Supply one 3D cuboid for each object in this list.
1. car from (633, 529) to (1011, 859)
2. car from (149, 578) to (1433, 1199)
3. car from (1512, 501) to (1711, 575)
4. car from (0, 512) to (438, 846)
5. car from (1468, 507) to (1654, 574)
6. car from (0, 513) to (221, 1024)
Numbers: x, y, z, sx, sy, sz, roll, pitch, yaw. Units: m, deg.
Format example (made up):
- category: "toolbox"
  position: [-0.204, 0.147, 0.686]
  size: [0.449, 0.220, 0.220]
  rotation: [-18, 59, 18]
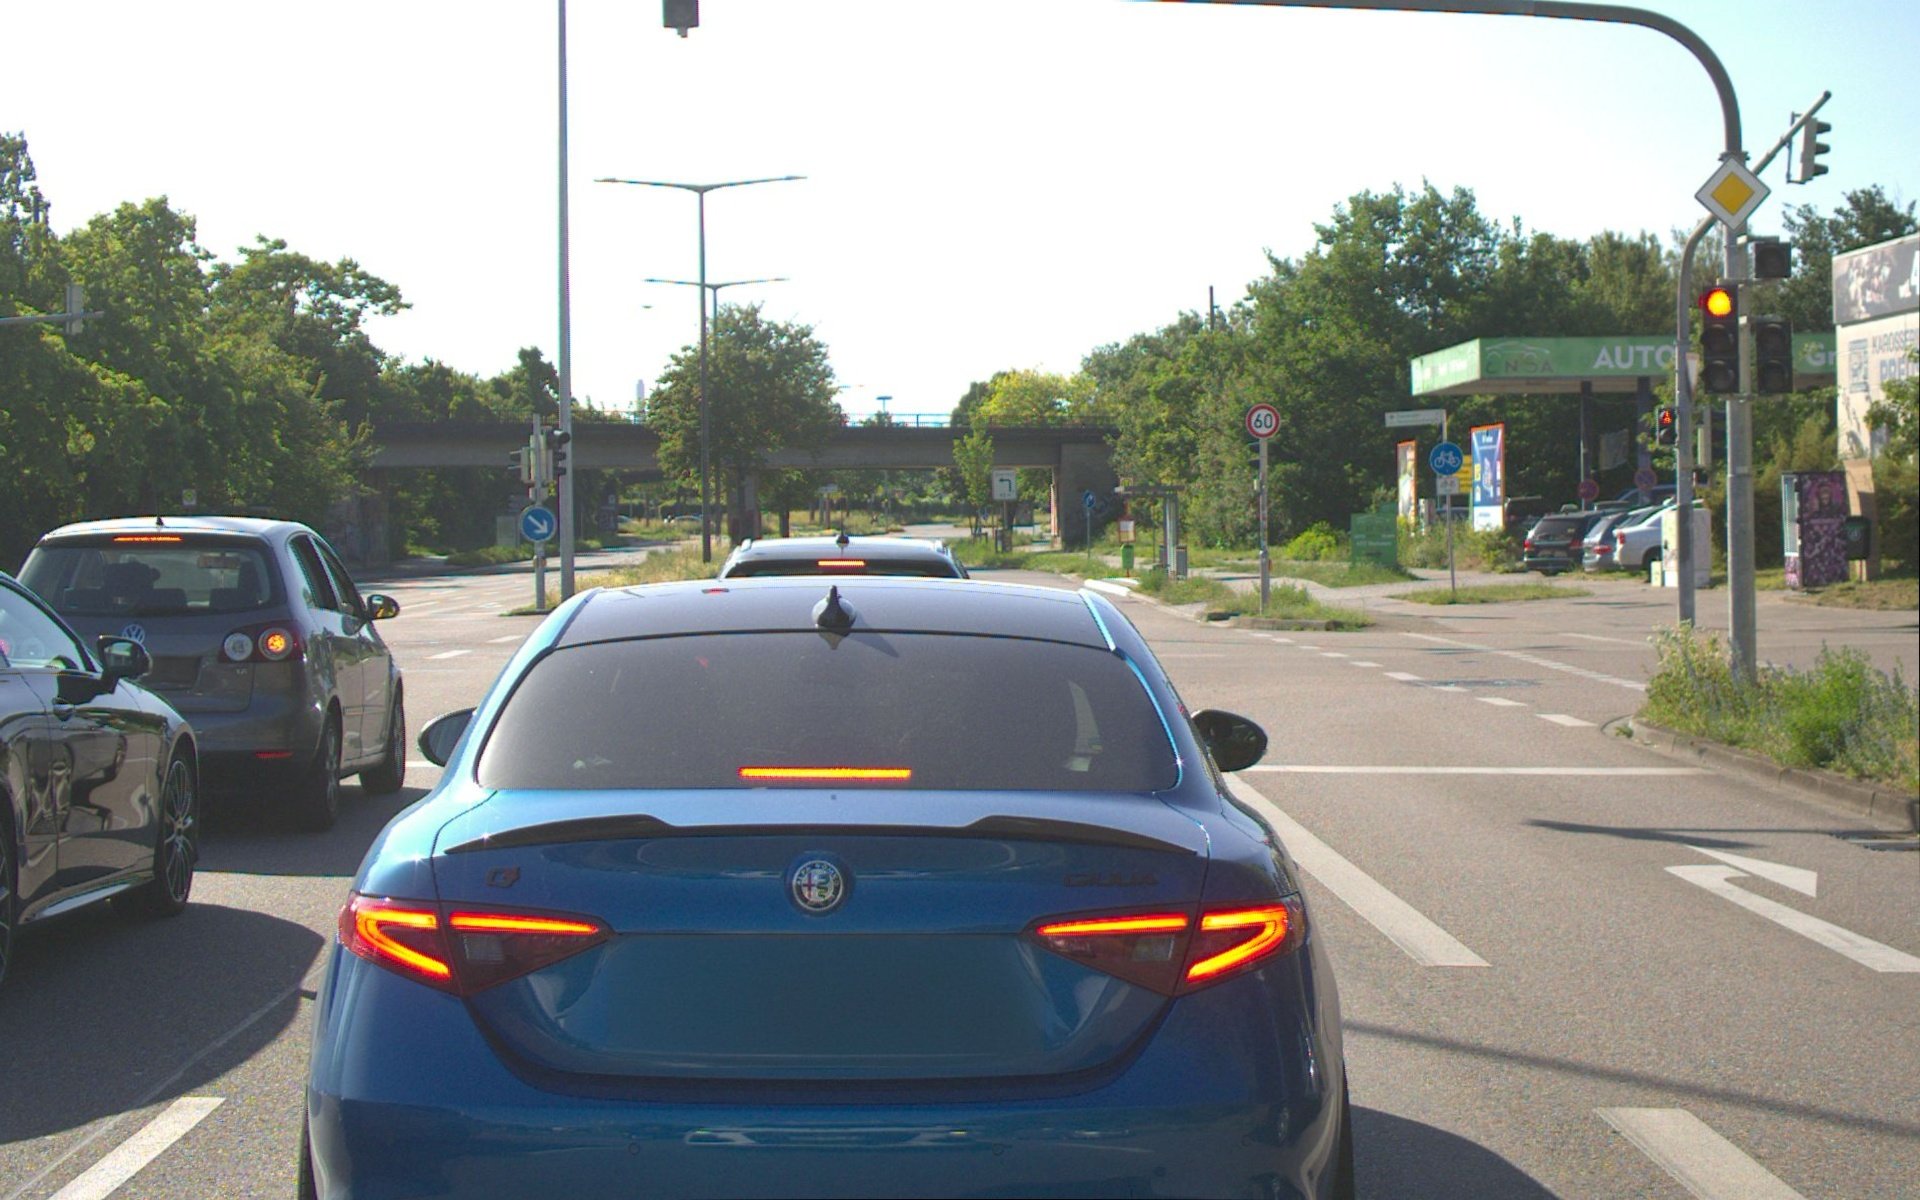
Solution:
- category: "car"
  position: [-0.608, 0.414, 17.684]
  size: [1.704, 1.492, 3.719]
  rotation: [1, 1, 1]
- category: "car"
  position: [-0.224, 0.684, 7.004]
  size: [1.910, 1.418, 3.719]
  rotation: [1, 1, 1]
- category: "car"
  position: [14.294, -1.350, 75.565]
  size: [3.987, 1.547, 2.000]
  rotation: [1, 0, 1]
- category: "car"
  position: [-3.956, 0.348, 18.307]
  size: [1.812, 1.546, 4.354]
  rotation: [1, 1, -2]
- category: "car"
  position: [14.705, -1.447, 84.192]
  size: [3.986, 1.547, 2.001]
  rotation: [1, 1, -18]
- category: "car"
  position: [-3.828, 0.480, 11.504]
  size: [1.812, 1.546, 4.544]
  rotation: [0, 1, -1]
